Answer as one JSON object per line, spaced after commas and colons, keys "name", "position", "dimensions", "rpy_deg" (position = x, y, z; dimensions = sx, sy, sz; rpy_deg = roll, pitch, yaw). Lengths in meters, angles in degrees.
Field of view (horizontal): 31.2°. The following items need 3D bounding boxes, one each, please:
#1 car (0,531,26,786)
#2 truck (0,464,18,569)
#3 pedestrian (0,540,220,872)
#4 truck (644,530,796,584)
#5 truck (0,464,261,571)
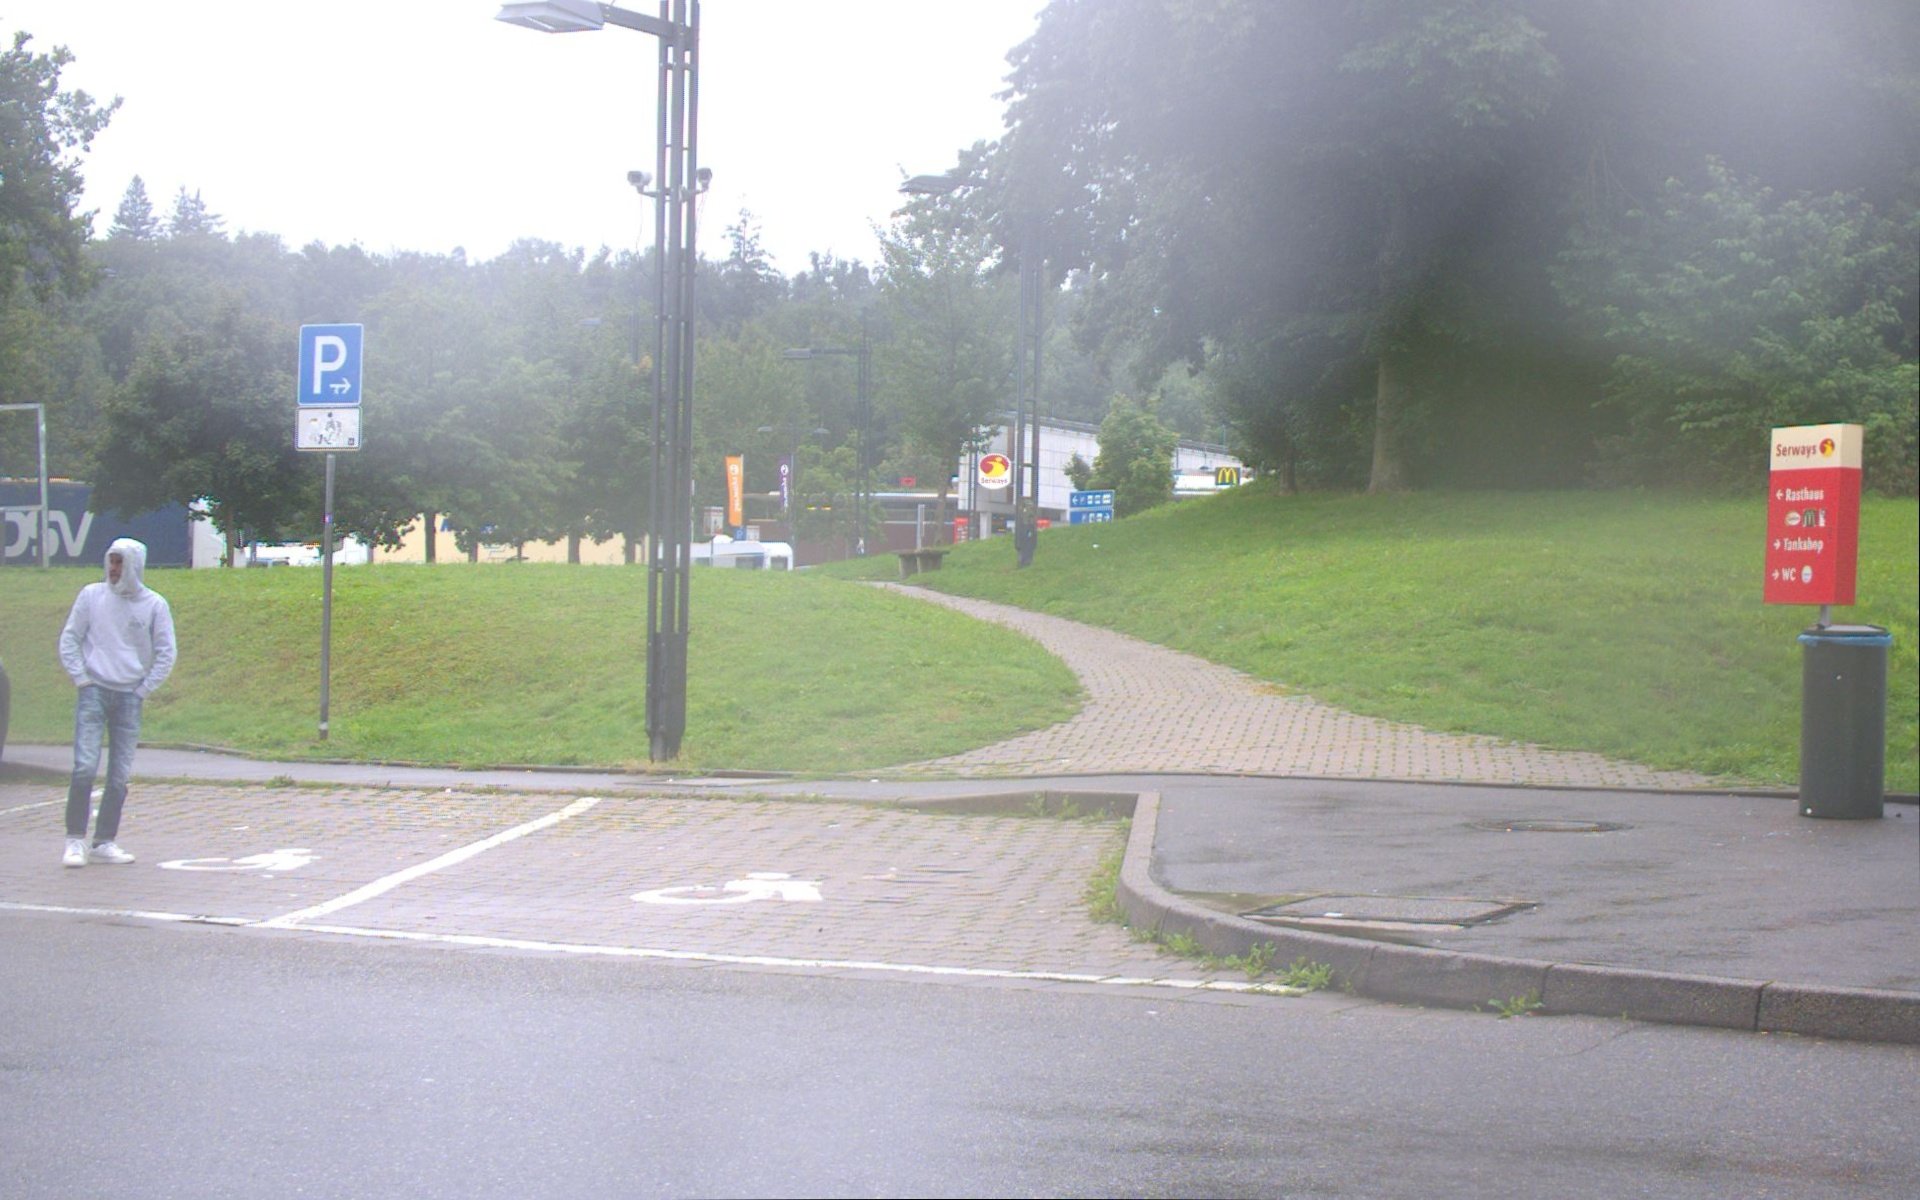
{"name": "car", "position": [-7.802, 0.455, 21.491], "dimensions": [2.018, 1.705, 4.341], "rpy_deg": [-1, 1, 12]}
{"name": "truck", "position": [-28.604, -2.341, 94.658], "dimensions": [2.189, 2.910, 5.380], "rpy_deg": [1, 1, 24]}
{"name": "pedestrian", "position": [-4.353, 0.519, 17.421], "dimensions": [0.951, 1.626, 0.703], "rpy_deg": [1, 0, 15]}
{"name": "truck", "position": [-9.328, -1.667, 133.805], "dimensions": [5.413, 2.007, 2.364], "rpy_deg": [1, 1, 25]}
{"name": "truck", "position": [-25.465, -2.367, 101.628], "dimensions": [2.188, 2.910, 13.082], "rpy_deg": [1, 1, 24]}
